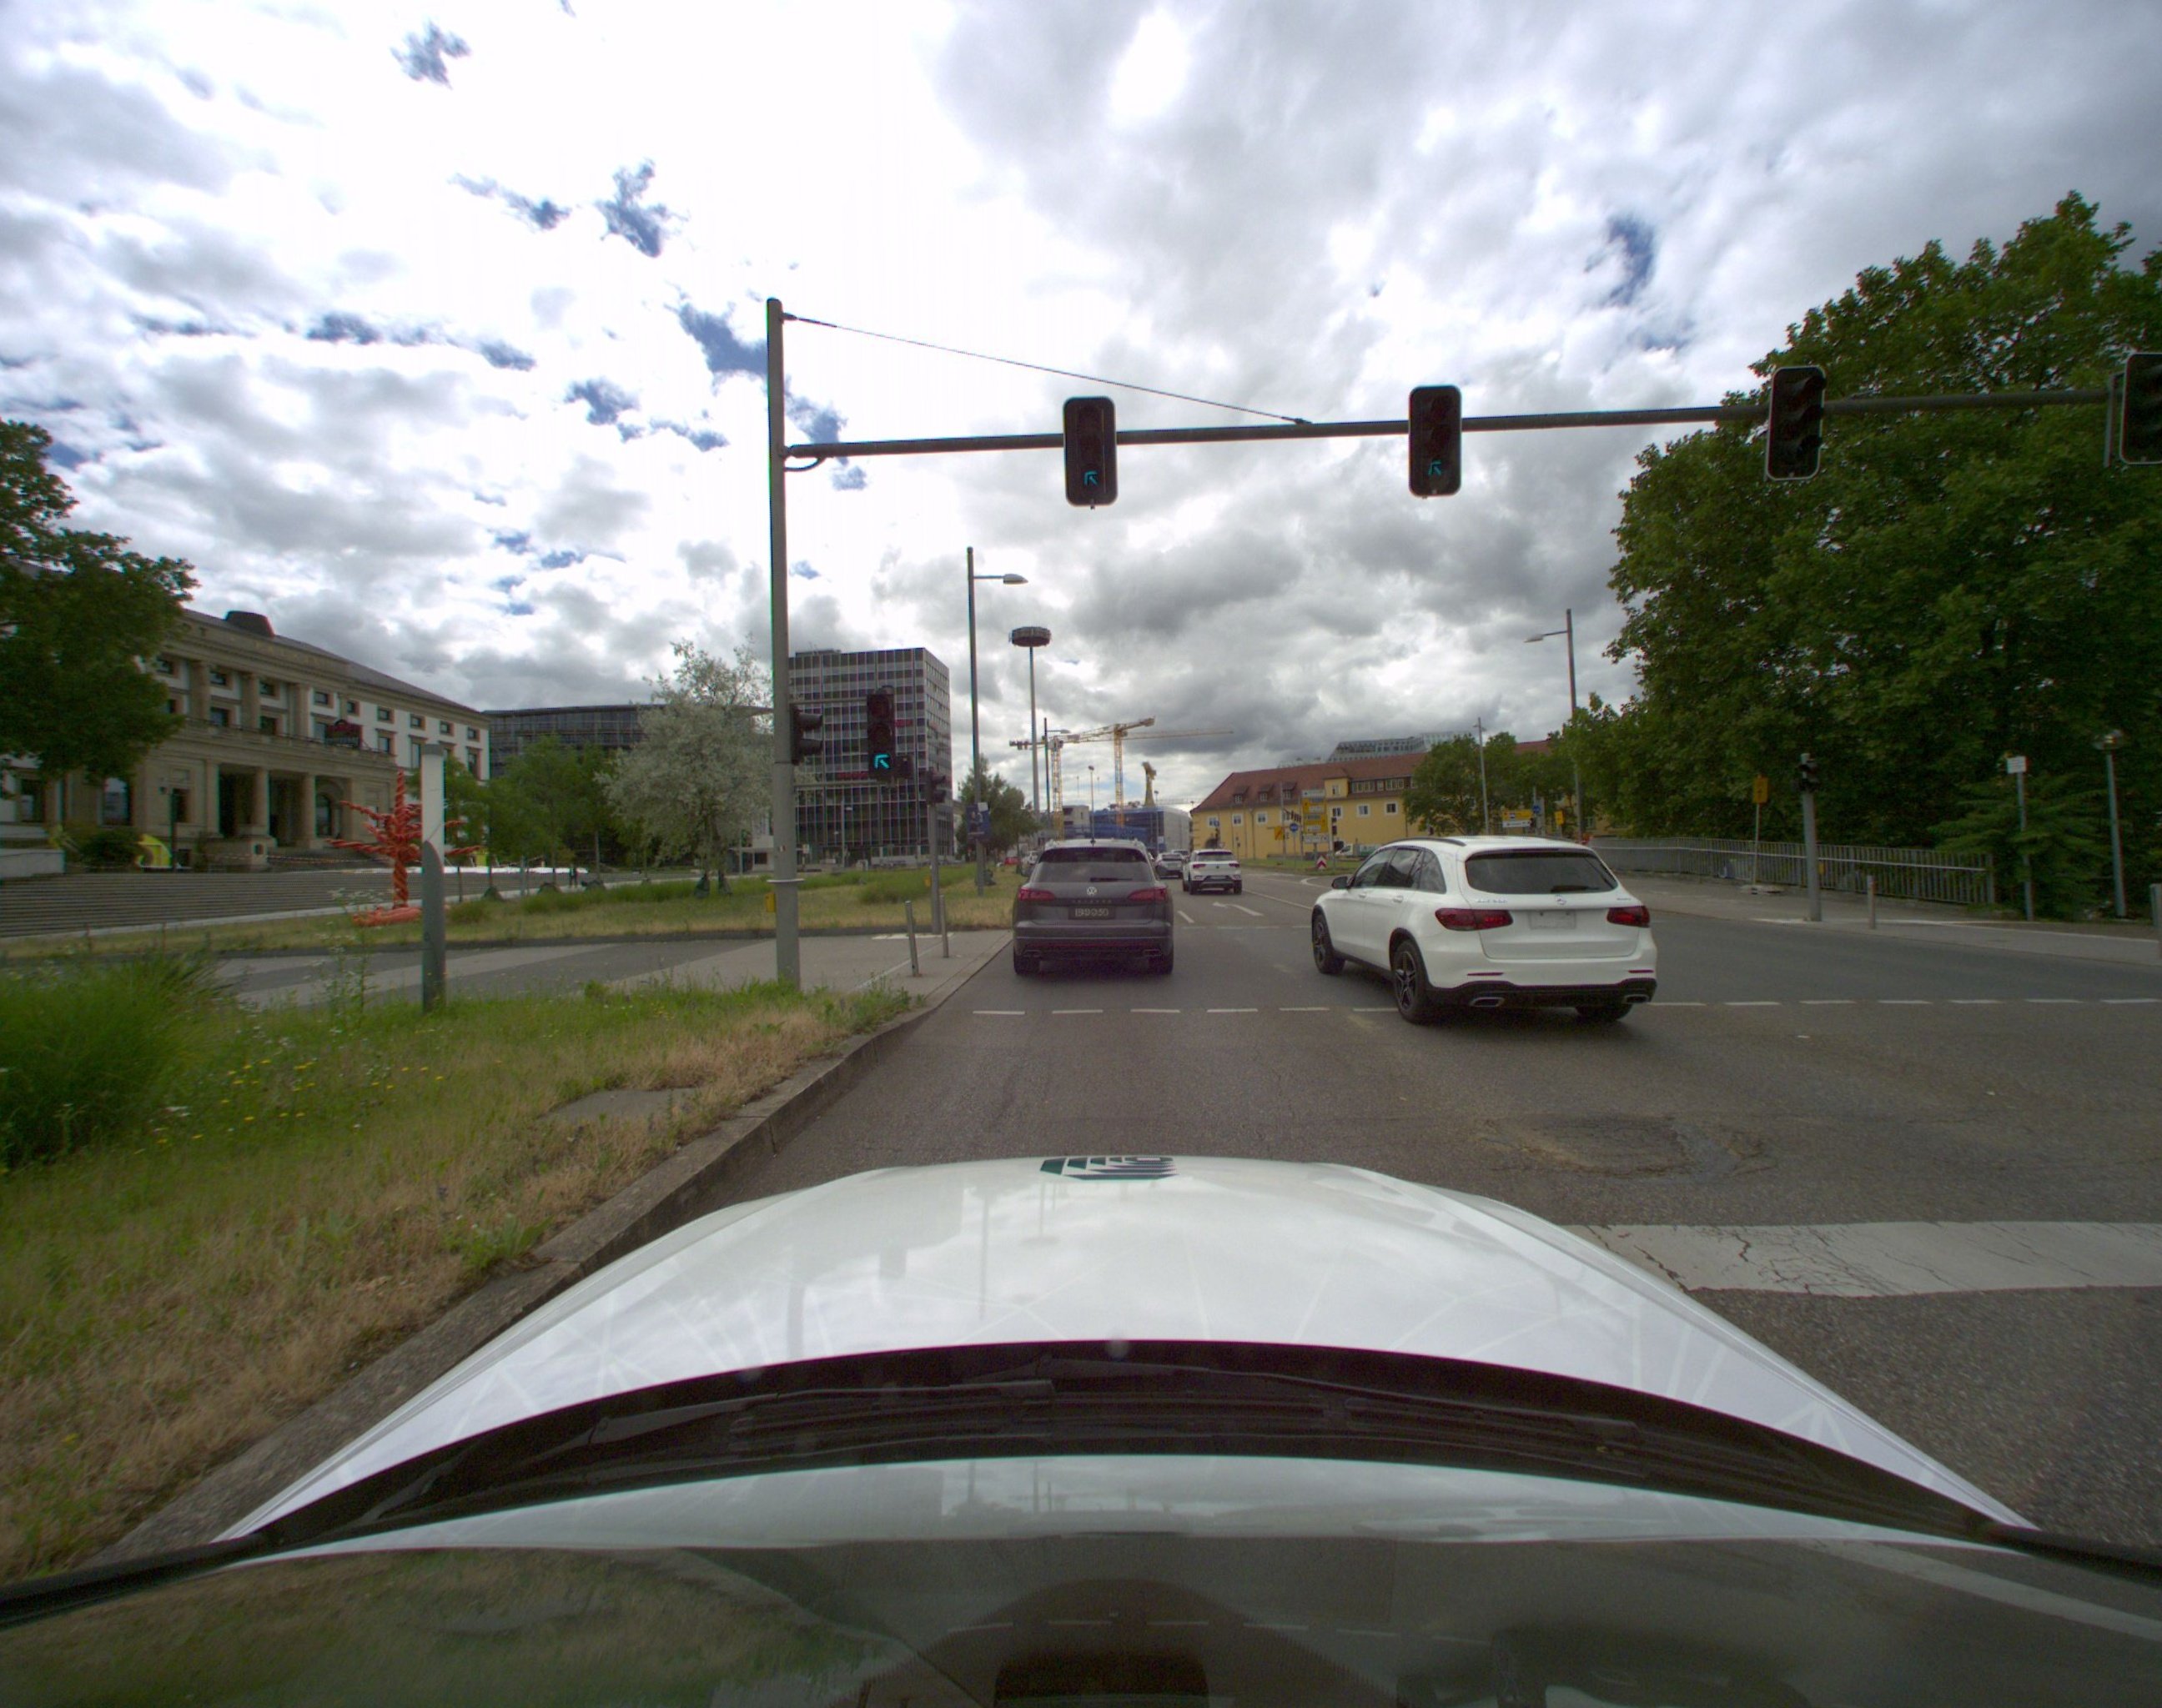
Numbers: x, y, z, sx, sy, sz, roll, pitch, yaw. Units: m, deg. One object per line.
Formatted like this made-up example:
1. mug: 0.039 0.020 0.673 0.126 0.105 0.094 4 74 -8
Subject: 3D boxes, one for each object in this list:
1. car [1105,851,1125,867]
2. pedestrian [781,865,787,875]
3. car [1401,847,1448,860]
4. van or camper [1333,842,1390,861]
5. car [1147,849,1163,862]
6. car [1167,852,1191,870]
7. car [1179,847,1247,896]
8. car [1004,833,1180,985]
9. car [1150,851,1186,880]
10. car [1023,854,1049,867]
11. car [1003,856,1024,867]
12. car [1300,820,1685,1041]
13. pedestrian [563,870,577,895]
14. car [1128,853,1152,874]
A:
1. car: 3.392 0.529 81.640 1.808 1.496 3.905 -2 0 0
2. pedestrian: -33.625 1.777 92.104 0.473 1.081 0.560 -1 -1 3
3. car: 38.834 -0.048 92.127 4.632 1.420 1.607 -2 -1 33
4. van or camper: 33.145 -0.284 96.228 5.946 2.014 2.032 -2 -1 37
5. car: 8.717 0.147 96.682 1.712 1.502 3.984 -1 0 3
6. car: 8.617 0.587 71.575 1.795 1.502 3.984 -1 0 3
7. car: 4.629 0.562 29.058 1.886 1.585 3.803 -1 0 2
8. car: 0.183 0.601 11.081 1.925 1.647 4.002 -1 0 2
9. car: 4.781 0.612 45.130 1.712 1.502 4.147 -1 0 3
10. car: -5.605 0.796 100.612 2.249 1.502 4.587 -1 0 -15
11. car: -9.242 1.023 111.517 1.725 1.502 3.952 -1 0 -22
12. car: 3.733 0.574 8.406 1.812 1.647 4.380 -1 0 1
13. pedestrian: -34.456 1.916 54.939 0.522 1.649 0.651 -1 -1 0
14. car: 4.526 0.695 61.992 1.711 1.502 3.986 -1 0 5
